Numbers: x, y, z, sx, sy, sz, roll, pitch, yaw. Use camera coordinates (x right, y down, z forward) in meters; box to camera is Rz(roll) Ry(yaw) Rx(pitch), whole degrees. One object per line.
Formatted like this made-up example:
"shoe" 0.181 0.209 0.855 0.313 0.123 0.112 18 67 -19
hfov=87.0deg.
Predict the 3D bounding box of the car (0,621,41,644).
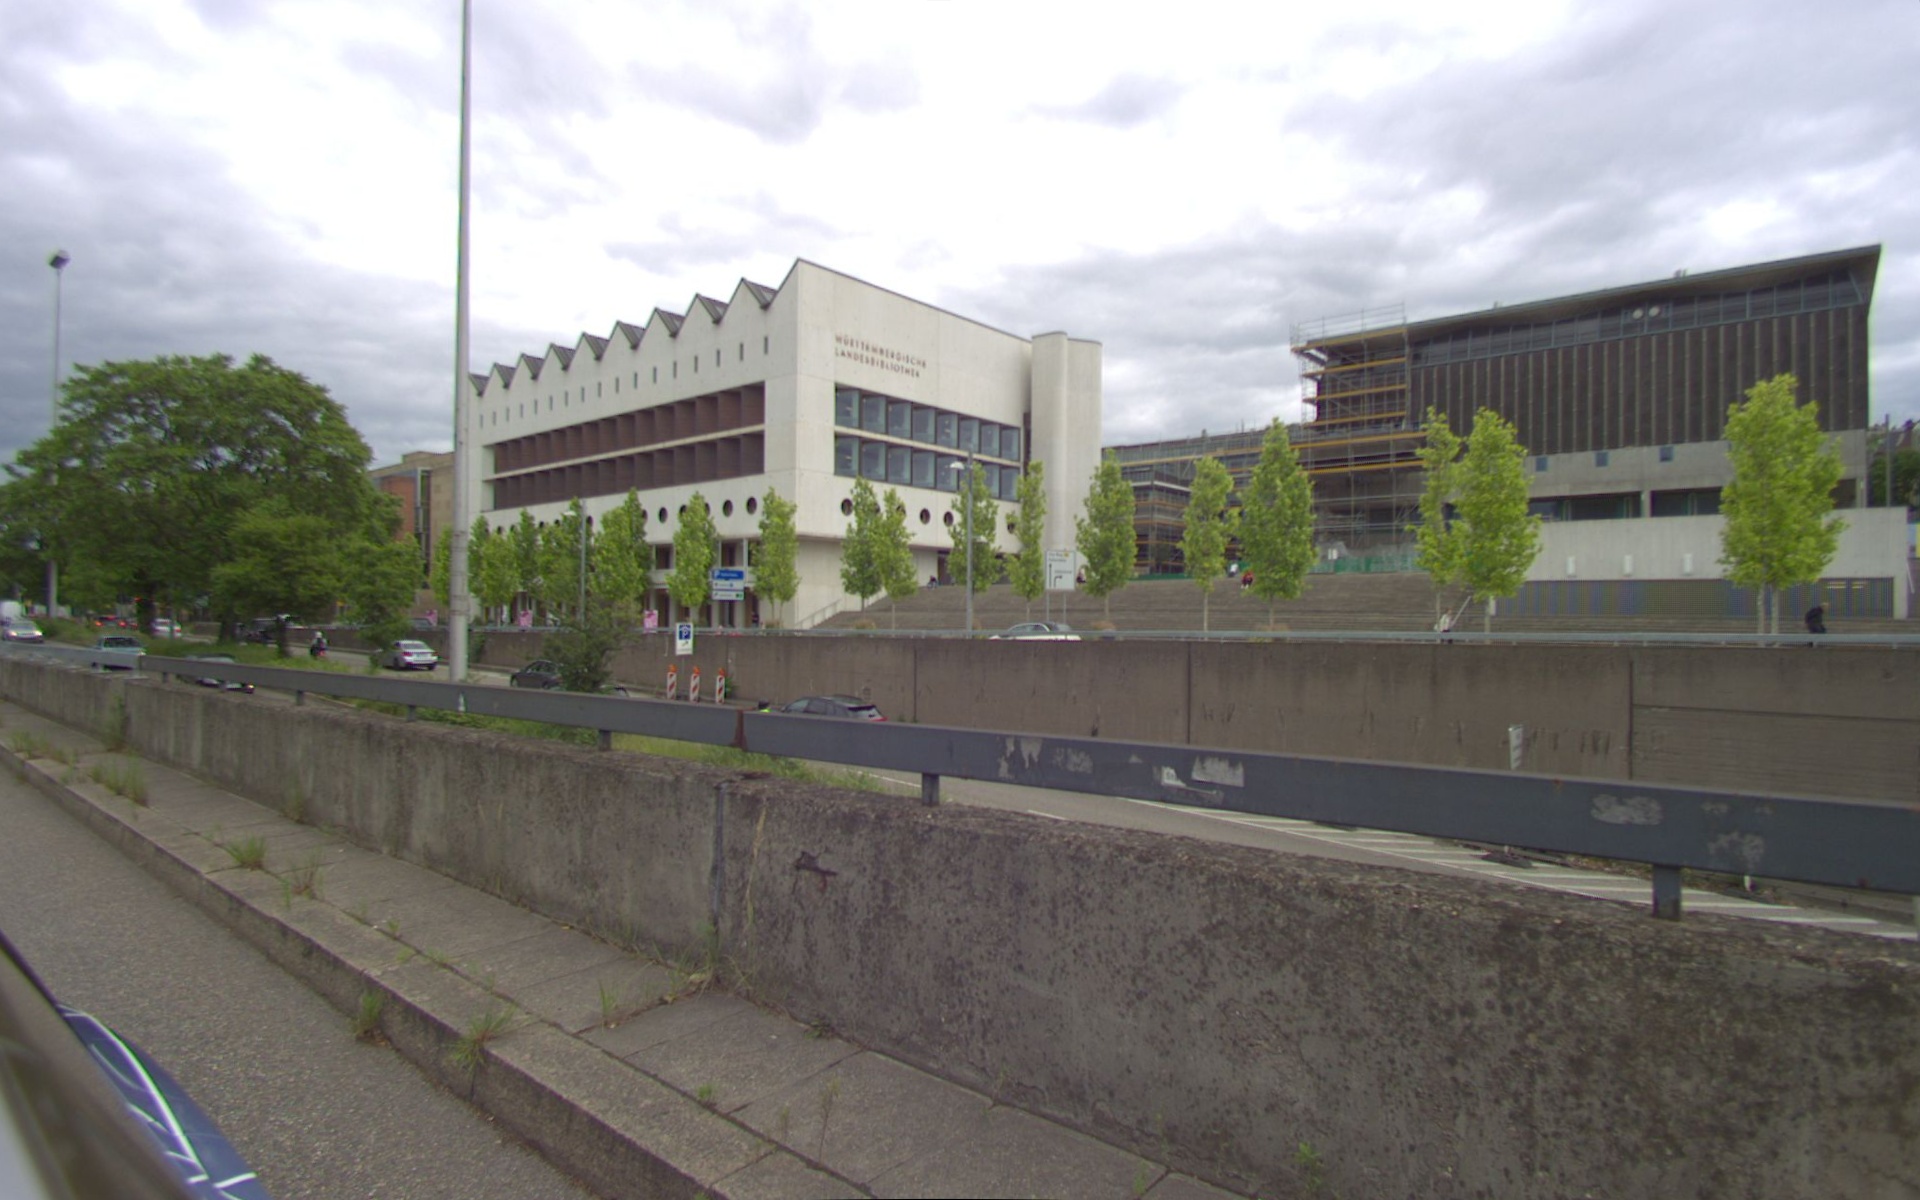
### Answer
"car" -59.652 2.044 64.075 4.089 1.425 1.636 -1 -1 40

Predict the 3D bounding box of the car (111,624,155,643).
"car" -68.870 2.788 84.245 3.995 1.409 1.974 -1 -4 39

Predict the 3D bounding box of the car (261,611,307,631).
"car" -56.315 1.748 84.291 4.484 1.640 1.931 -1 -1 38

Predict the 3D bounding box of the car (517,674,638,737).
"car" -12.150 3.275 32.024 4.144 1.500 1.757 2 0 40

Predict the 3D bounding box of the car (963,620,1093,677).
"car" 2.258 1.612 34.155 3.998 1.776 1.973 -1 -4 41

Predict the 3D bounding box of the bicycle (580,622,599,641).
"bicycle" -25.861 2.173 70.593 1.697 1.282 0.398 0 1 39

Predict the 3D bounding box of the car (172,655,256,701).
"car" -26.898 2.760 36.429 4.089 1.425 1.539 -1 -1 40

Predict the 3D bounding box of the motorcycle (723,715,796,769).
"motorcycle" -5.214 3.667 26.289 2.050 1.106 0.678 2 -3 41

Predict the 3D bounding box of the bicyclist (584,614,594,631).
"bicyclist" -25.861 1.551 70.581 0.643 1.169 0.398 0 1 39

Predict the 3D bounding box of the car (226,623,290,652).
"car" -44.563 2.367 64.190 4.513 1.657 2.133 1 -2 40

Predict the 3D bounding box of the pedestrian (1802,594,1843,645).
"pedestrian" 28.542 0.653 33.509 0.728 1.655 0.795 0 -3 -34

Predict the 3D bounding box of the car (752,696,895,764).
"car" -3.949 3.655 28.941 4.003 1.338 1.787 3 0 40

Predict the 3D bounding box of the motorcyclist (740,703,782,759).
"motorcyclist" -5.170 3.381 26.273 0.717 1.362 0.662 2 -3 40

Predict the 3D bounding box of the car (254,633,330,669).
"car" -33.547 2.562 50.813 4.515 1.687 1.973 -1 -4 41

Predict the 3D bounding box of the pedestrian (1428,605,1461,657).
"pedestrian" 19.248 1.243 40.200 0.728 2.029 0.795 -1 -3 -18

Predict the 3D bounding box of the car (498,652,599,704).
"car" -16.404 3.037 40.236 4.388 1.625 1.851 3 0 40

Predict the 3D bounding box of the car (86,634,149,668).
"car" -38.661 2.326 46.408 4.089 1.425 1.539 -1 -1 40

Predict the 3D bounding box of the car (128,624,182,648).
"car" -52.780 2.350 66.342 3.998 1.409 1.973 -1 -4 41

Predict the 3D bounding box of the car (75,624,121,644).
"car" -64.137 2.500 75.313 3.998 1.409 1.973 -1 -4 41

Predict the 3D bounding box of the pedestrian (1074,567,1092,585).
"pedestrian" 7.684 -1.512 63.256 0.767 0.950 0.718 2 22 34

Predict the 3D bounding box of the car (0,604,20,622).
"car" -105.225 1.394 111.784 3.999 1.868 1.588 0 1 42

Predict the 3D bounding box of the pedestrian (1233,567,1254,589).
"pedestrian" 15.541 -1.207 55.447 0.767 0.949 0.719 -2 22 35

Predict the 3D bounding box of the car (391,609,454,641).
"car" -32.375 1.504 60.922 3.998 1.776 1.973 -1 -4 41
